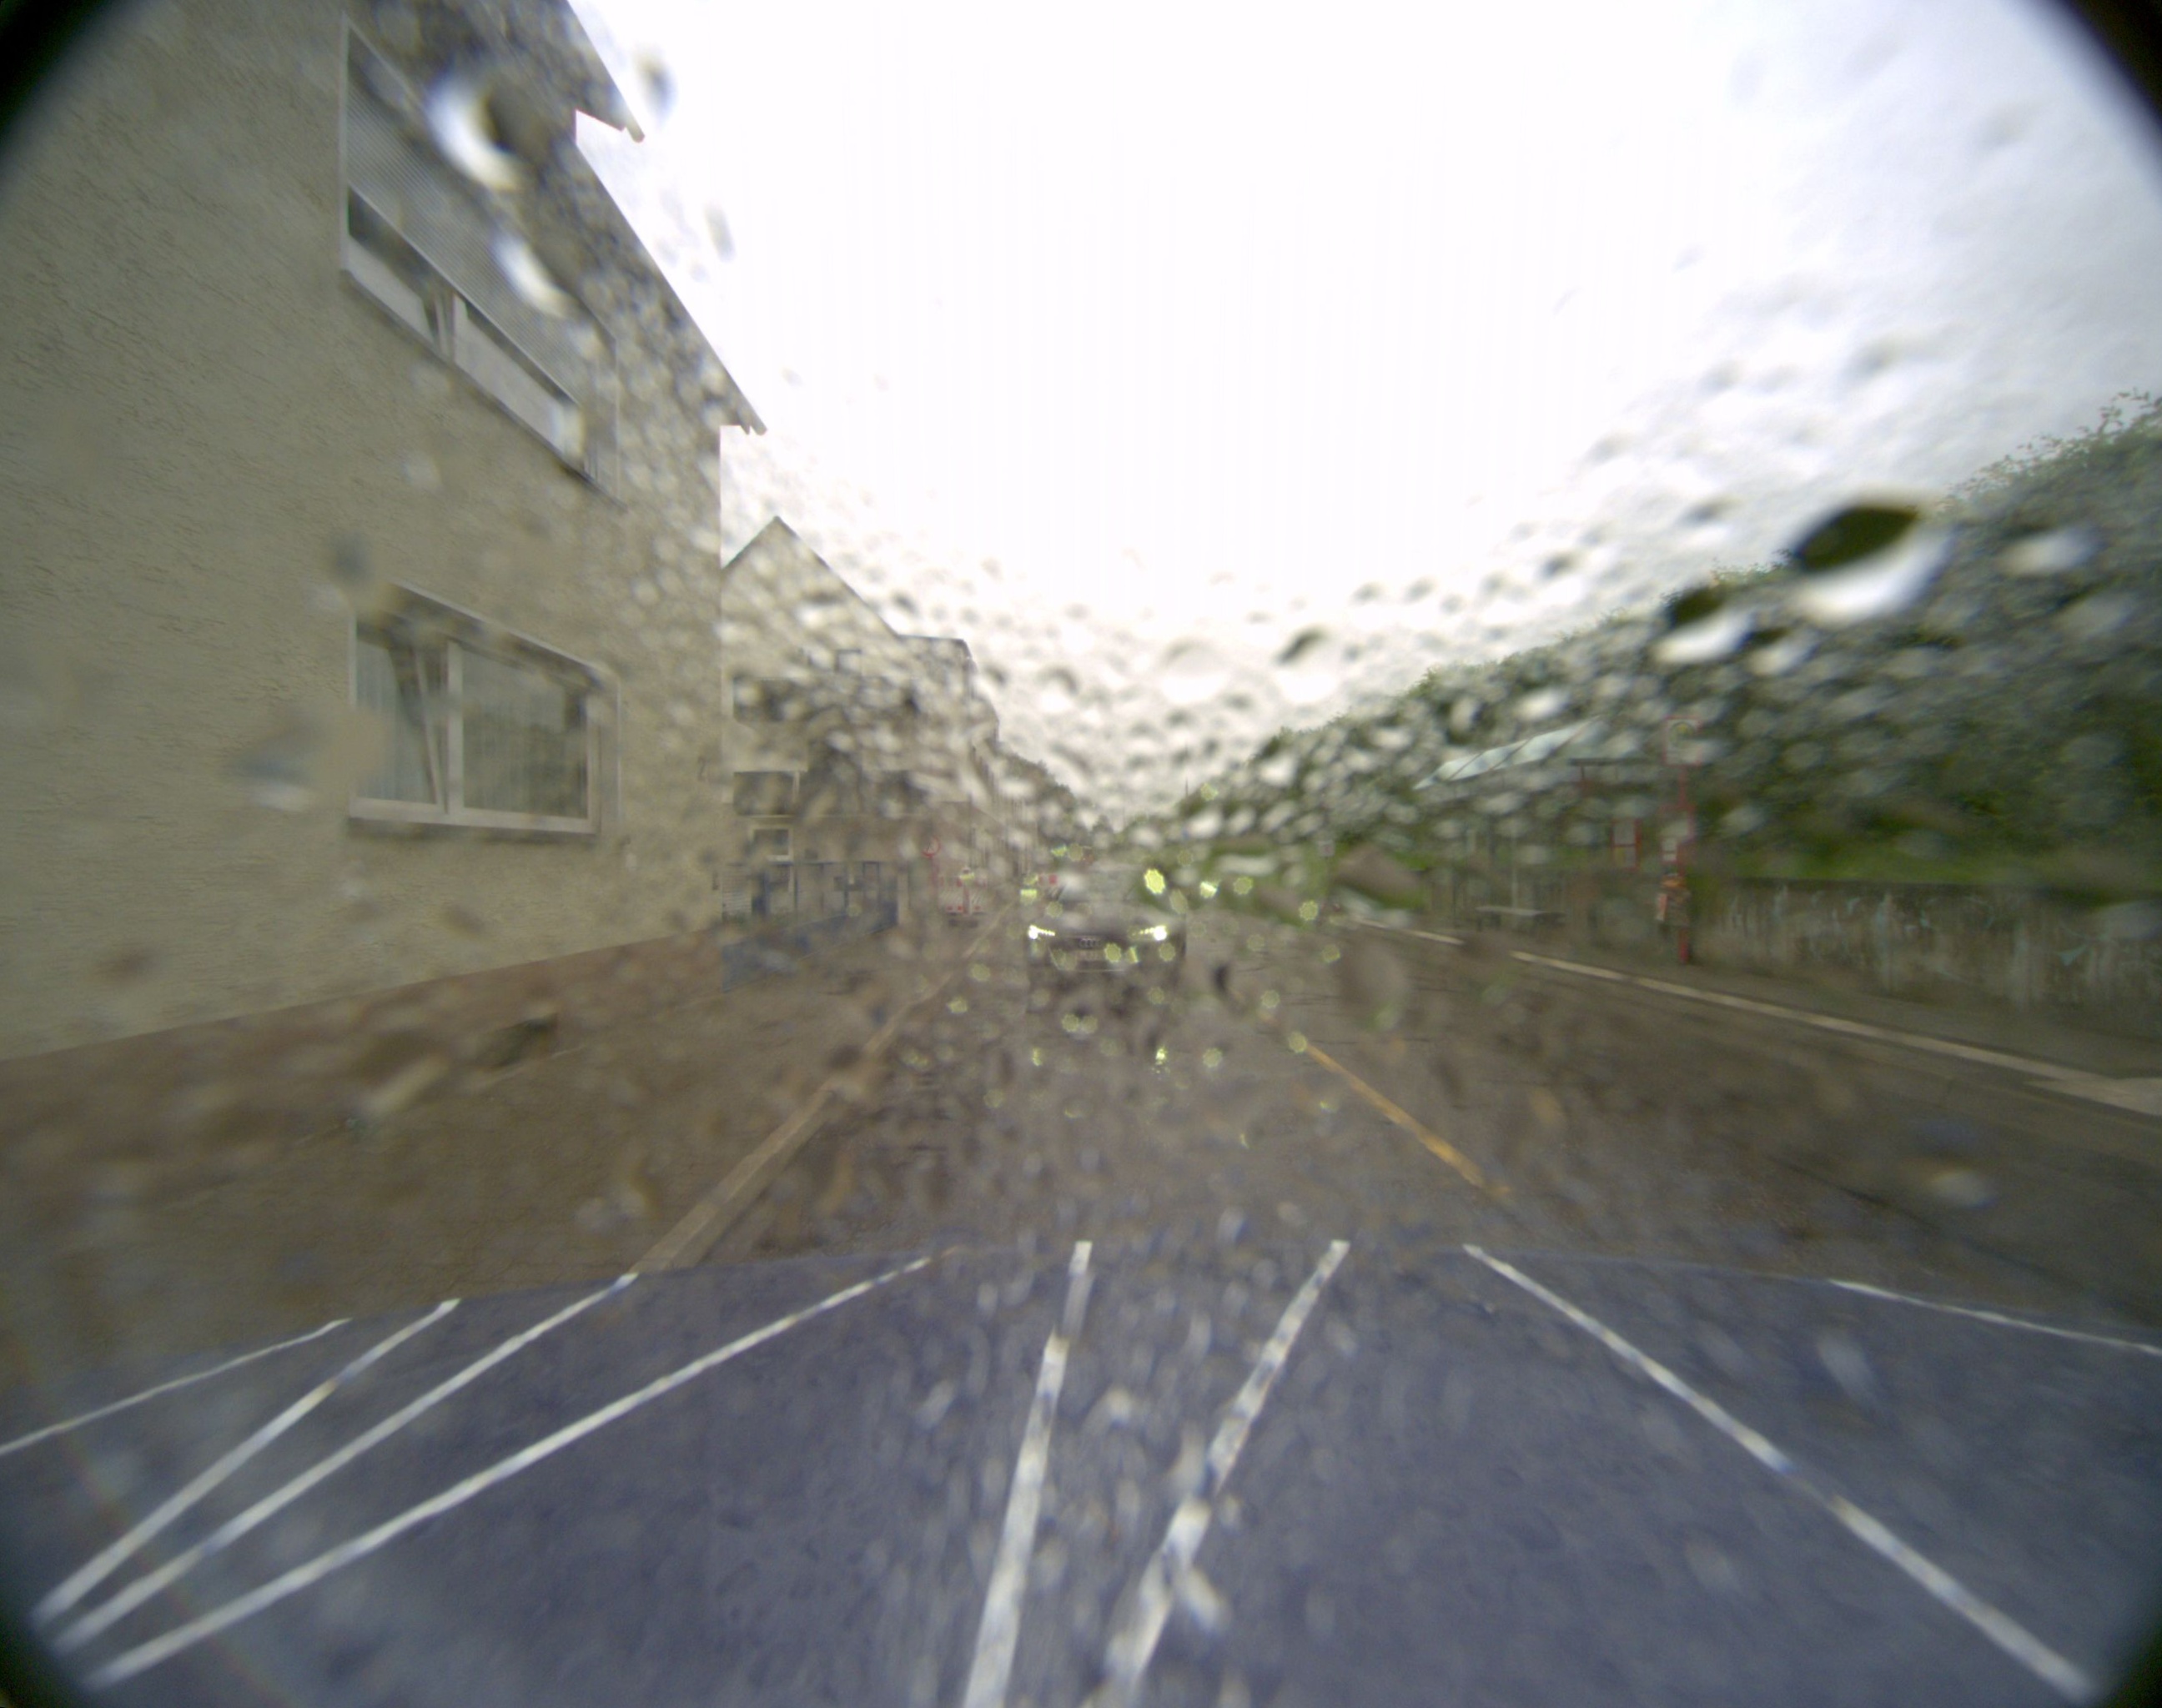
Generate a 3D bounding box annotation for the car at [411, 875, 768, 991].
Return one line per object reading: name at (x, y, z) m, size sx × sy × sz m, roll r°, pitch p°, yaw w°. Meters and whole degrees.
car at (-7.357, 1.144, 11.740) m, size 4.155 × 1.294 × 1.912 m, roll -4°, pitch 1°, yaw -1°

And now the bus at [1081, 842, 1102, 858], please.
bus at (2.154, -0.781, 149.503) m, size 2.683 × 2.987 × 14.552 m, roll 1°, pitch 1°, yaw 7°

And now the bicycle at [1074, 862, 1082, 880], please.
bicycle at (-0.180, 1.024, 46.451) m, size 0.407 × 1.023 × 1.221 m, roll 1°, pitch 1°, yaw 1°

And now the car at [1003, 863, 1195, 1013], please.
car at (0.498, 0.906, 10.313) m, size 1.850 × 1.444 × 4.535 m, roll 1°, pitch 1°, yaw 11°

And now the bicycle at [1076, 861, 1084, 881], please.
bicycle at (-0.068, 0.994, 44.217) m, size 0.407 × 1.137 × 1.221 m, roll 1°, pitch 1°, yaw 1°
